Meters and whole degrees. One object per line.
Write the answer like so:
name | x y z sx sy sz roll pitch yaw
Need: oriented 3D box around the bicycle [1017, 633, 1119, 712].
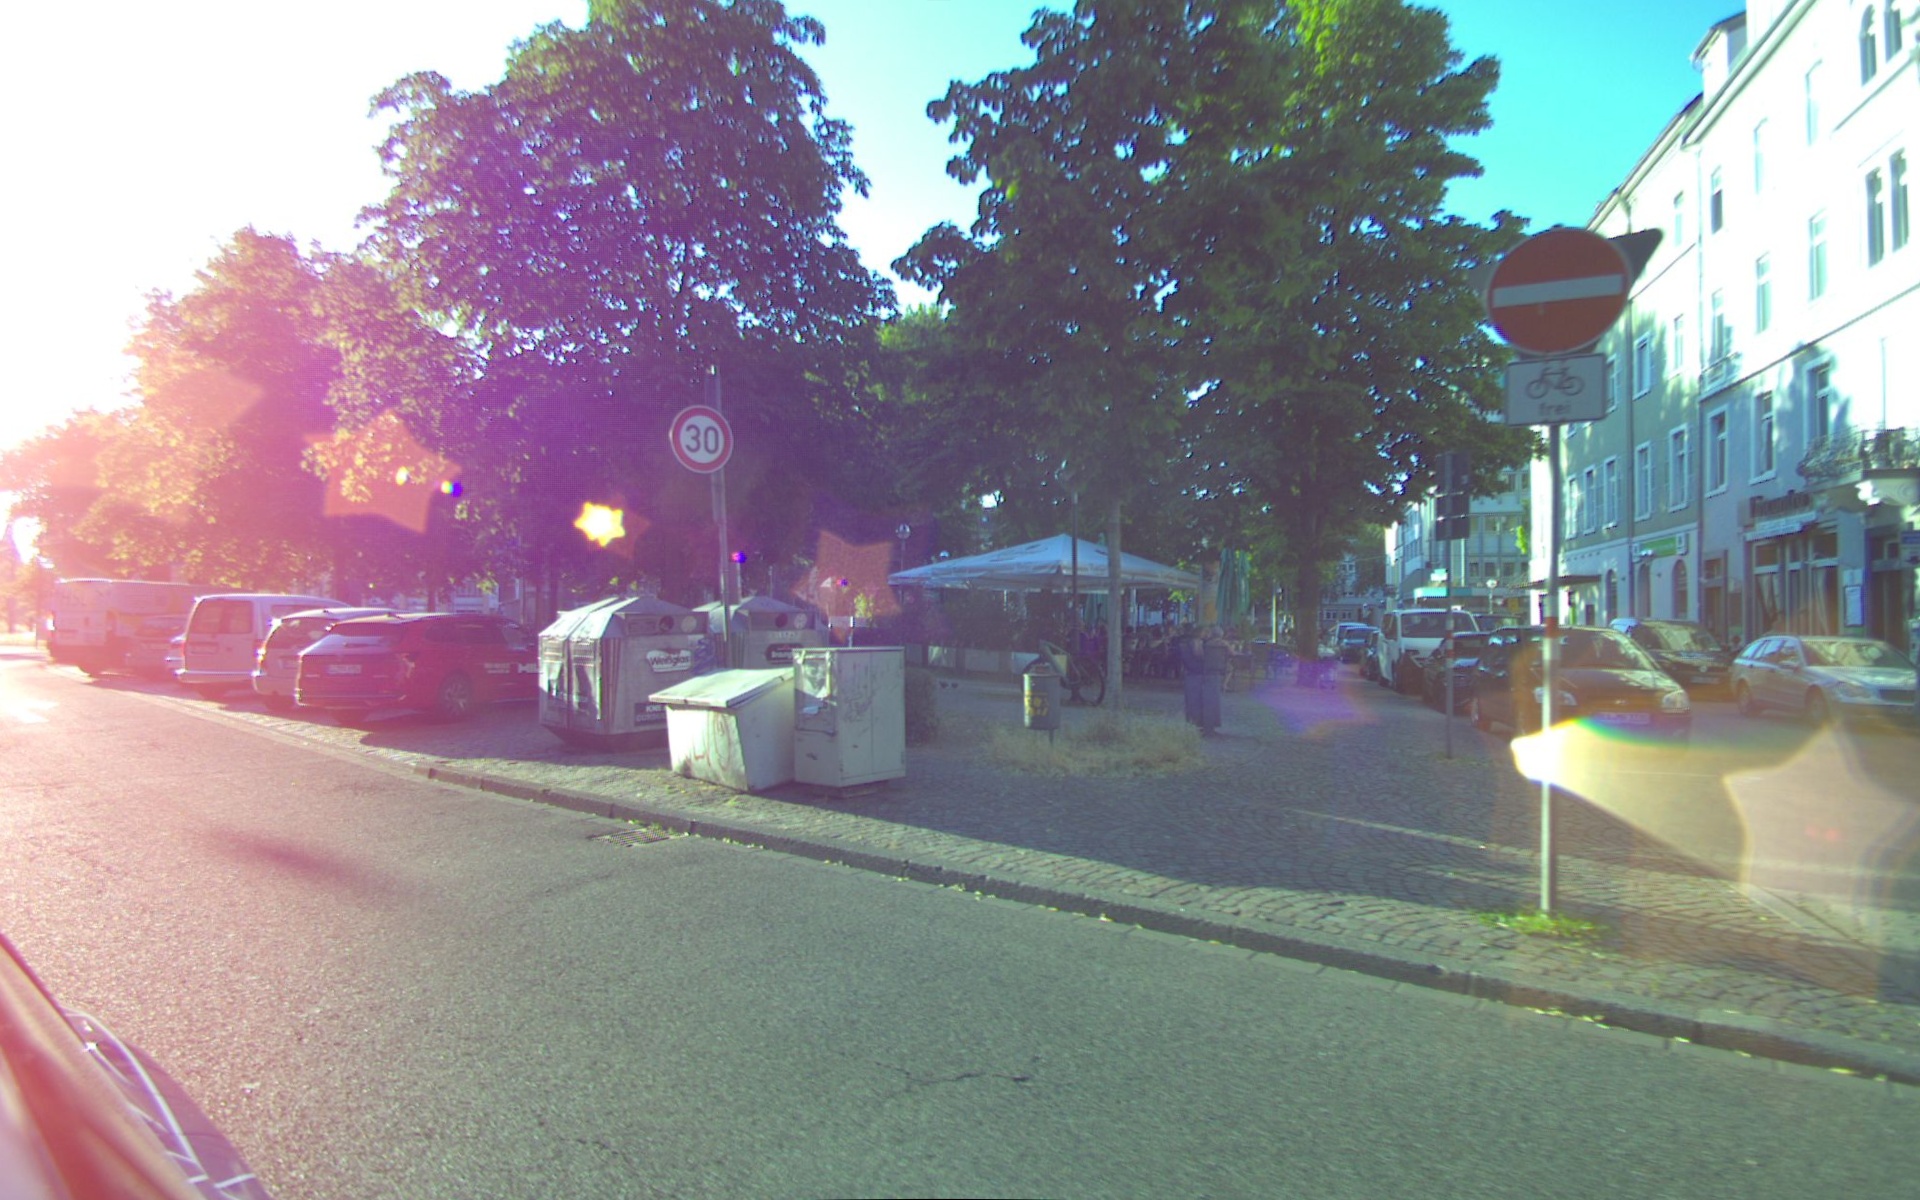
bicycle | 1.557 1.039 14.899 0.355 1.076 1.814 0 -1 -36

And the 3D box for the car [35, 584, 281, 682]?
car | -20.298 0.792 25.916 2.182 2.268 4.591 -1 0 15

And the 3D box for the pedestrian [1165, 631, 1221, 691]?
pedestrian | 4.682 1.224 20.322 0.850 1.167 0.787 -2 -4 37

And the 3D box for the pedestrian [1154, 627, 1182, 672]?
pedestrian | 5.494 1.314 26.739 0.527 1.183 0.527 3 -4 -41

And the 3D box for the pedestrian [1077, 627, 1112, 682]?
pedestrian | 2.903 1.178 21.847 0.527 1.163 0.527 3 -4 -41

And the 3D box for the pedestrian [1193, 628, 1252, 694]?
pedestrian | 4.987 1.150 19.237 0.850 1.208 0.787 -2 -4 37

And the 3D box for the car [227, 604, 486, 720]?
car | -9.937 0.934 17.068 1.728 1.709 3.993 -1 0 6

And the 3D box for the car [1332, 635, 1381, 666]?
car | 15.784 1.993 40.443 1.637 1.063 3.574 -1 -1 19

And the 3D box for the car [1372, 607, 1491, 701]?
car | 11.140 1.192 24.247 2.027 2.002 4.801 -1 -1 19

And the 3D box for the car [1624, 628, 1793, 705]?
car | 16.202 1.375 22.157 1.825 1.451 3.956 -1 -1 19

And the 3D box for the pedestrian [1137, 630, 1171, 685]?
pedestrian | 4.276 1.269 22.285 0.527 1.183 0.527 3 -4 -41

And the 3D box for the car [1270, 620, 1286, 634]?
car | 41.468 3.535 132.059 1.983 1.697 3.977 -1 -1 18

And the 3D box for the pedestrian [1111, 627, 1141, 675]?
pedestrian | 4.175 1.275 25.488 0.527 1.183 0.527 3 -4 -41

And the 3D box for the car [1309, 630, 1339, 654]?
car | 18.360 2.105 51.130 1.324 1.135 2.952 -1 -1 19

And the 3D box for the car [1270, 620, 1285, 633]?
car | 43.649 3.631 139.135 1.983 1.785 3.977 -1 -1 18

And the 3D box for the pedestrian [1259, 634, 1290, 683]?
pedestrian | 7.697 1.426 24.765 0.527 1.183 0.527 3 -4 -41

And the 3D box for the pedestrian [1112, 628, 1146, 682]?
pedestrian | 3.800 1.230 22.770 0.527 1.183 0.527 3 -4 -41

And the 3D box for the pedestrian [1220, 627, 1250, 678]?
pedestrian | 7.075 1.350 26.045 0.527 1.286 0.527 3 -4 -41

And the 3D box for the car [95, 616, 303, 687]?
car | -17.513 1.128 23.558 1.856 1.479 4.000 -1 -1 0

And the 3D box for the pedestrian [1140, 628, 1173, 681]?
pedestrian | 4.513 1.252 23.276 0.527 1.183 0.527 3 -4 -41

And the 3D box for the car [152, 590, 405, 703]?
car | -12.621 0.817 19.083 1.848 1.892 3.993 -1 -1 6

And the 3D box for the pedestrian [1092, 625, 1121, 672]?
pedestrian | 3.762 1.233 25.945 0.527 1.183 0.527 1 -2 -41

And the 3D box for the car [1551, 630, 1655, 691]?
car | 17.633 1.629 27.913 1.600 1.493 3.593 -1 -1 19

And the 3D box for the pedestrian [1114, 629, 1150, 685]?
pedestrian | 3.714 1.226 21.802 0.527 1.164 0.527 4 -4 -41

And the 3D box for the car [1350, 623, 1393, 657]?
car | 21.019 2.016 51.829 1.741 1.606 3.357 -1 -1 18

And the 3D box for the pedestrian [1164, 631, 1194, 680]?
pedestrian | 5.366 1.363 24.798 0.527 1.183 0.527 3 -4 -41

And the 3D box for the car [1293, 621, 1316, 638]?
car | 33.448 2.839 98.310 1.983 1.630 3.977 -2 -2 18

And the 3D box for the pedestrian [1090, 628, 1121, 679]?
pedestrian | 3.449 1.258 23.967 0.527 1.183 0.527 3 -4 -41

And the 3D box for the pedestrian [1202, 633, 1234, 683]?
pedestrian | 6.183 1.384 24.232 0.527 1.183 0.527 3 -4 -41

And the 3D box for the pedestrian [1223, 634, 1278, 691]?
pedestrian | 5.907 1.263 20.568 0.850 1.140 0.787 -2 -4 37

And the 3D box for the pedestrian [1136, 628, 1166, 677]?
pedestrian | 4.758 1.307 25.197 0.527 1.183 0.527 3 -4 -41

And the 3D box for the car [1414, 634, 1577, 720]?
car | 9.282 1.281 17.866 1.815 1.247 3.750 -1 -1 17

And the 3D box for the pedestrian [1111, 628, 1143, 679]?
pedestrian | 3.894 1.247 23.581 0.527 1.183 0.527 3 -4 -41

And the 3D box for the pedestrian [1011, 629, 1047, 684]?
pedestrian | 1.507 1.237 22.202 0.572 1.181 0.535 3 -3 -41

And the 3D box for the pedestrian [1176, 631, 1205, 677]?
pedestrian | 6.002 1.400 26.401 0.527 1.183 0.527 3 -4 -41

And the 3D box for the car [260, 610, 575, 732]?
car | -7.567 0.929 14.646 1.978 1.497 3.987 0 -1 10

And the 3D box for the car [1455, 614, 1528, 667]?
car | 21.515 1.596 41.142 1.984 2.029 3.974 -1 -1 19

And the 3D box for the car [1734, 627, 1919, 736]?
car | 13.710 1.172 15.708 1.529 1.422 3.813 -1 -1 19

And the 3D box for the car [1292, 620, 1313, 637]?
car | 35.176 2.919 104.047 1.983 1.719 3.977 0 -1 18

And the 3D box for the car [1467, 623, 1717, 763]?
car | 7.457 1.011 12.334 1.692 1.391 3.506 -1 -1 17

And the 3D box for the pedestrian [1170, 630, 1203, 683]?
pedestrian | 5.130 1.275 22.951 0.527 1.183 0.527 3 -4 -41

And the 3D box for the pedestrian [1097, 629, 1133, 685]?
pedestrian | 3.283 1.198 21.432 0.527 1.164 0.527 3 -4 -41

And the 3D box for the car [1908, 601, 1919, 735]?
car | 12.474 0.803 10.513 1.942 1.690 4.410 -1 -1 16

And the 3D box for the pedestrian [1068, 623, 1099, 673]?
pedestrian | 2.976 1.161 24.364 0.527 1.183 0.527 3 -4 -41

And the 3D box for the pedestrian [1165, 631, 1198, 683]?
pedestrian | 5.206 1.338 23.826 0.556 1.200 0.523 2 -3 -41

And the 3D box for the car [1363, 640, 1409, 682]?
car | 12.470 1.772 29.715 1.067 1.097 2.467 -1 -1 19

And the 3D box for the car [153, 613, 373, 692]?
car | -14.723 1.050 21.673 1.826 1.503 3.996 -1 0 3
